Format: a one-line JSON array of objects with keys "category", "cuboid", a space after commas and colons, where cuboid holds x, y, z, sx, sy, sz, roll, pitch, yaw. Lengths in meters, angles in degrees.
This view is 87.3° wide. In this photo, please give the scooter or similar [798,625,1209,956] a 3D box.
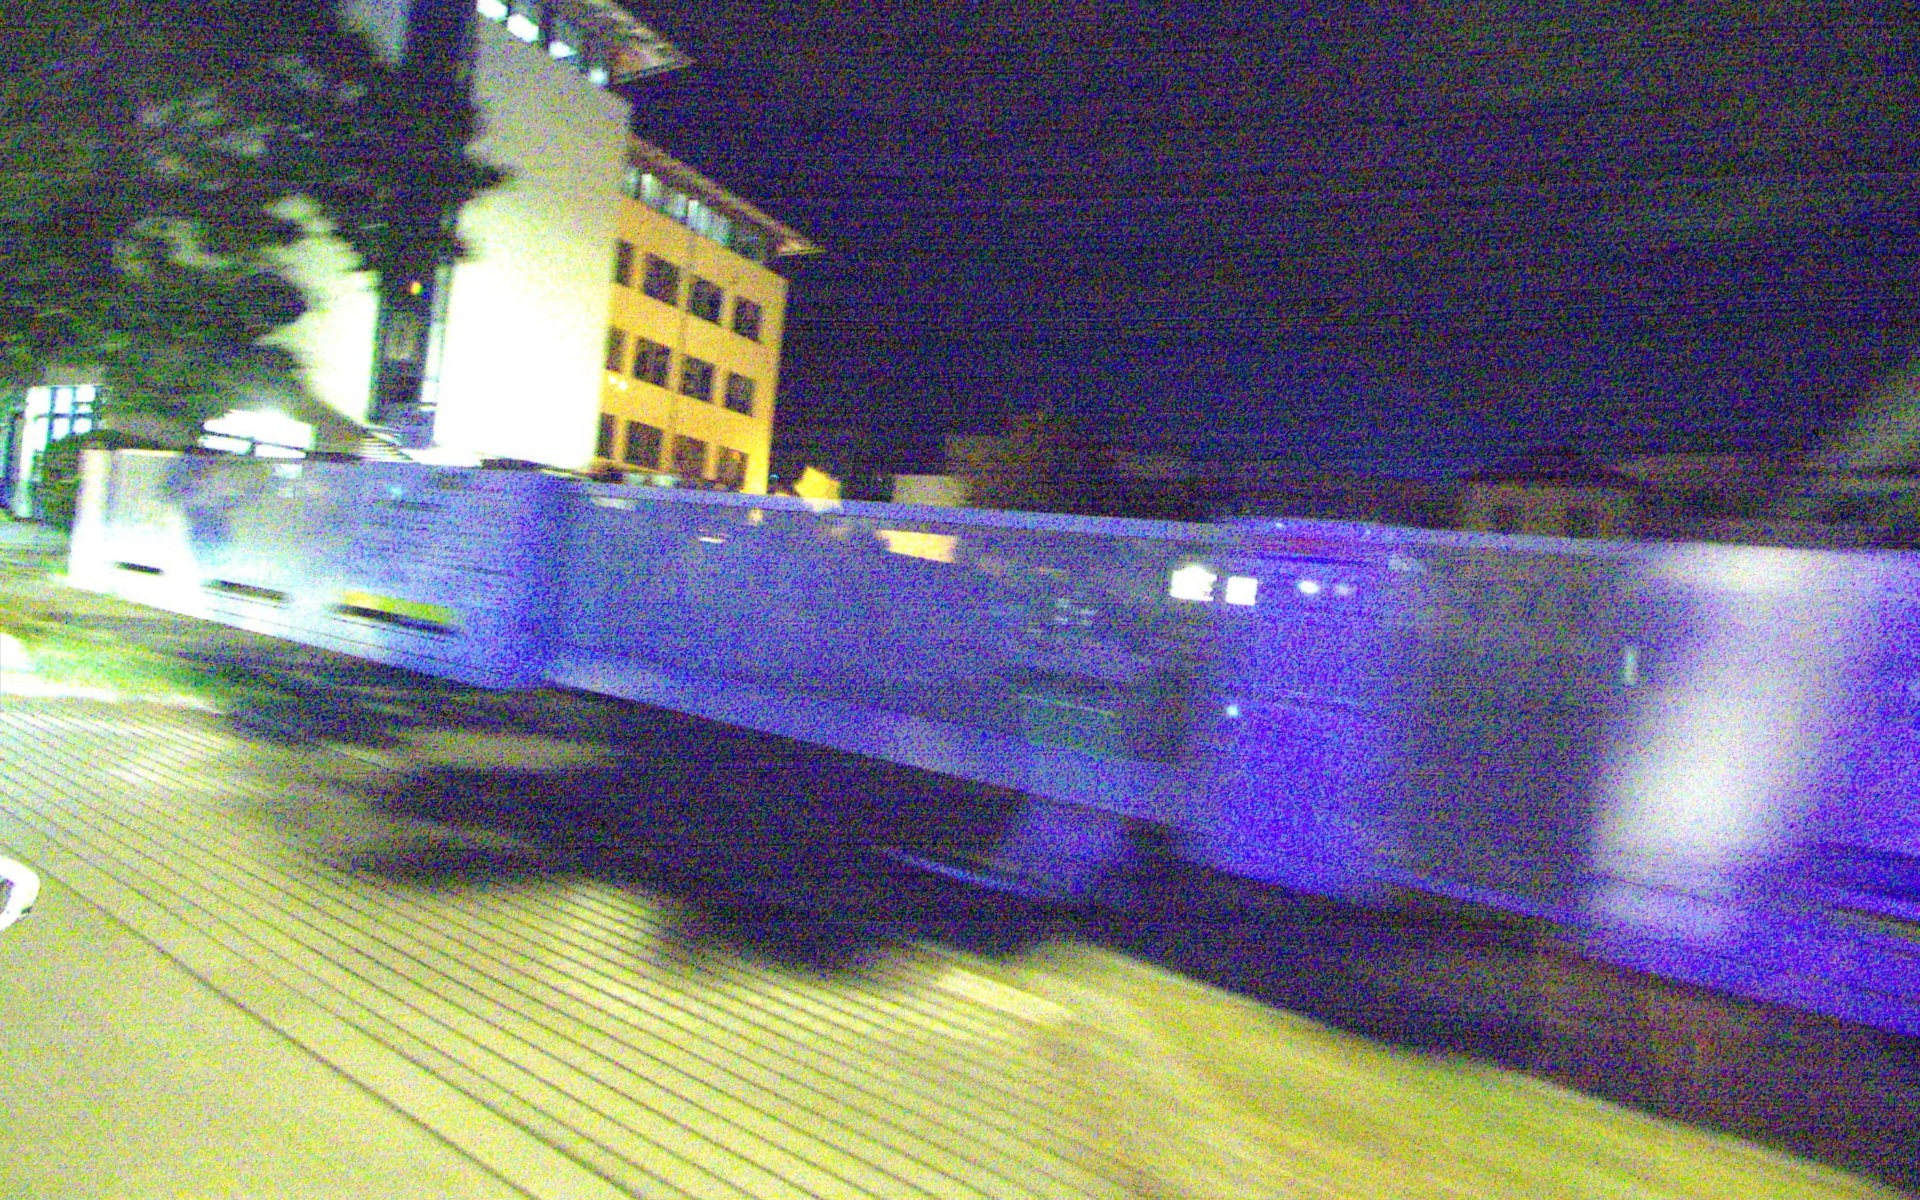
[{"category": "scooter or similar", "cuboid": [0.160, 0.829, 4.922, 1.879, 1.218, 0.548, 5, 0, 32]}]
